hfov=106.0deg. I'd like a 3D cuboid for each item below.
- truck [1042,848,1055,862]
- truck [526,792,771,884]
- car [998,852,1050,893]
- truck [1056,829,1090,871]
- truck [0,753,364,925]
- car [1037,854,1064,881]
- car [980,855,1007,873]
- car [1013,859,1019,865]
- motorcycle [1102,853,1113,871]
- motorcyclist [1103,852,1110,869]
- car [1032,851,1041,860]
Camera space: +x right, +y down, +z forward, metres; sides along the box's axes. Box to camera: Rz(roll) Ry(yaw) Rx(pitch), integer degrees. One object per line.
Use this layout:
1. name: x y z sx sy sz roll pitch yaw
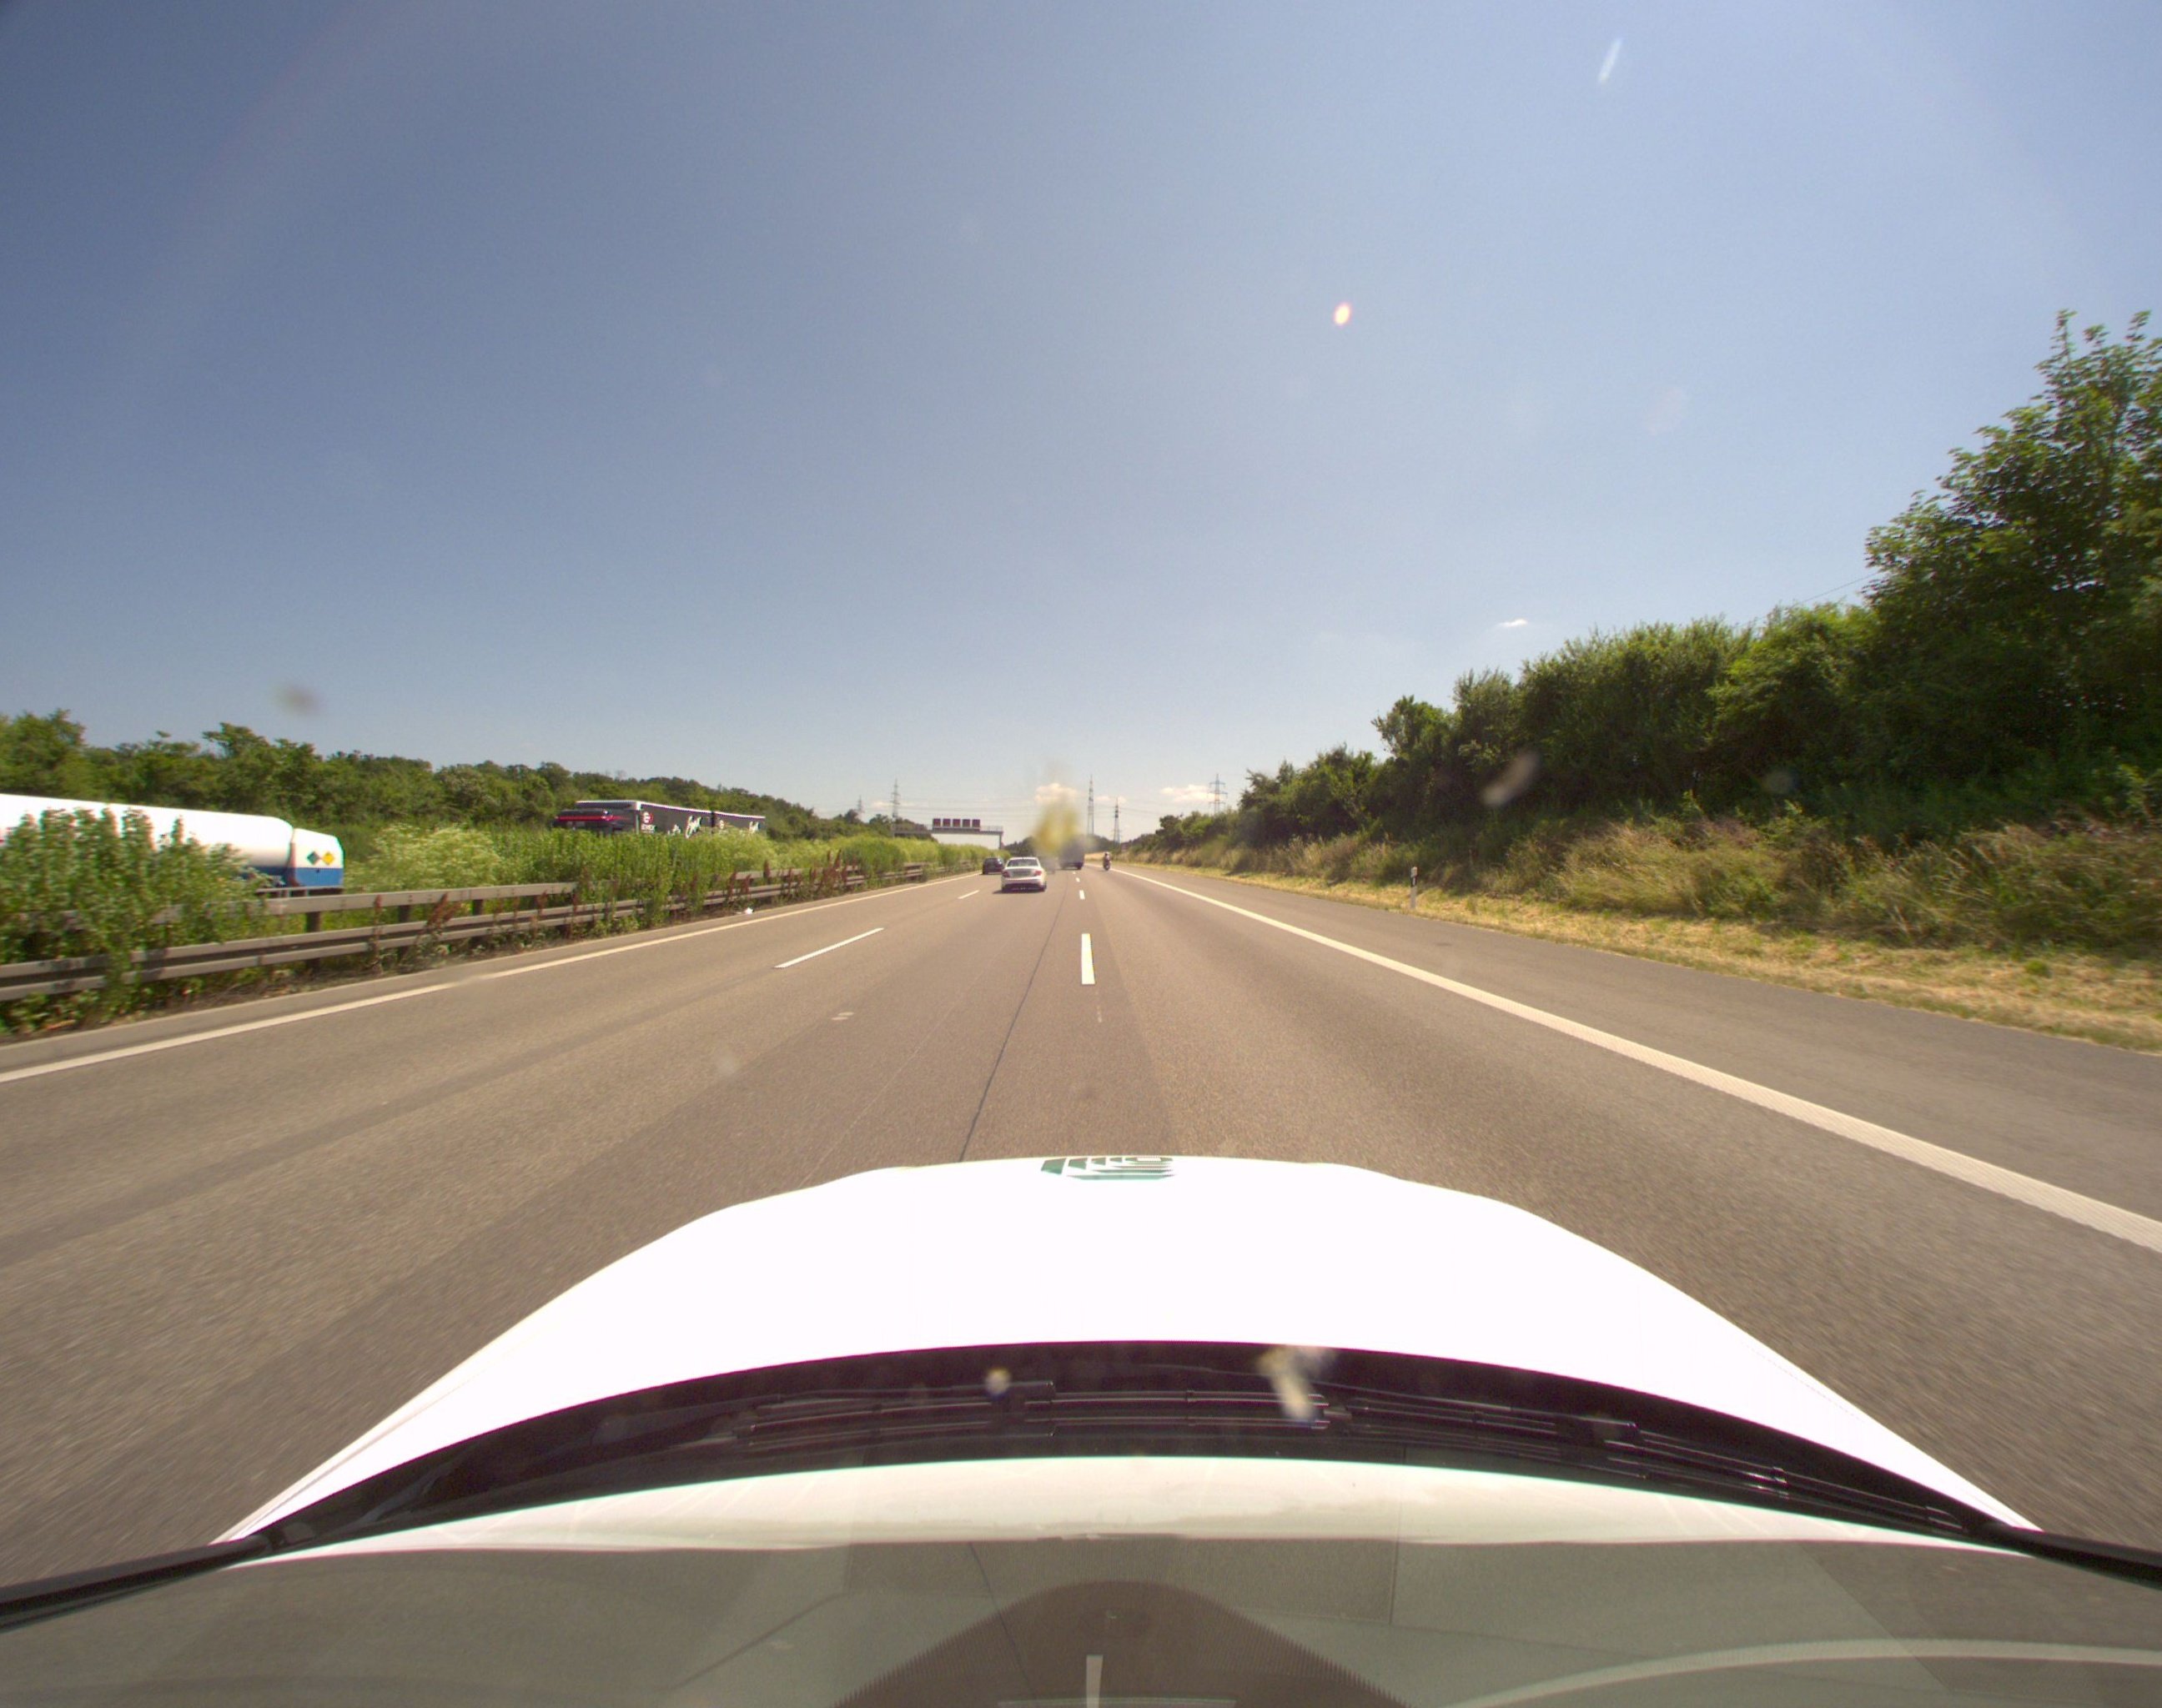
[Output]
1. truck: -9.500 0.308 238.270 3.477 3.912 7.281 -1 0 -3
2. truck: -20.760 -0.696 41.754 3.221 3.611 18.516 1 0 -2
3. car: -2.310 0.719 34.107 1.813 1.540 3.915 -2 0 1
4. truck: -0.835 -0.385 82.740 3.212 3.924 9.056 -1 0 -1
5. truck: -22.994 -0.272 17.448 2.452 3.456 14.680 -2 0 -1
6. car: -2.395 1.023 64.400 1.989 2.013 3.996 -2 0 -3
7. car: -7.275 0.799 67.709 1.750 1.429 4.000 -2 0 0
8. car: -20.890 2.605 262.252 1.990 1.859 3.995 -1 0 -4
9. motorcycle: 2.350 0.719 73.530 0.808 1.607 1.780 -1 0 -4
10. motorcyclist: 2.300 0.559 73.523 0.571 1.479 0.699 -2 0 -4
11. car: -10.336 0.349 189.041 1.896 1.925 3.999 -2 0 -1
